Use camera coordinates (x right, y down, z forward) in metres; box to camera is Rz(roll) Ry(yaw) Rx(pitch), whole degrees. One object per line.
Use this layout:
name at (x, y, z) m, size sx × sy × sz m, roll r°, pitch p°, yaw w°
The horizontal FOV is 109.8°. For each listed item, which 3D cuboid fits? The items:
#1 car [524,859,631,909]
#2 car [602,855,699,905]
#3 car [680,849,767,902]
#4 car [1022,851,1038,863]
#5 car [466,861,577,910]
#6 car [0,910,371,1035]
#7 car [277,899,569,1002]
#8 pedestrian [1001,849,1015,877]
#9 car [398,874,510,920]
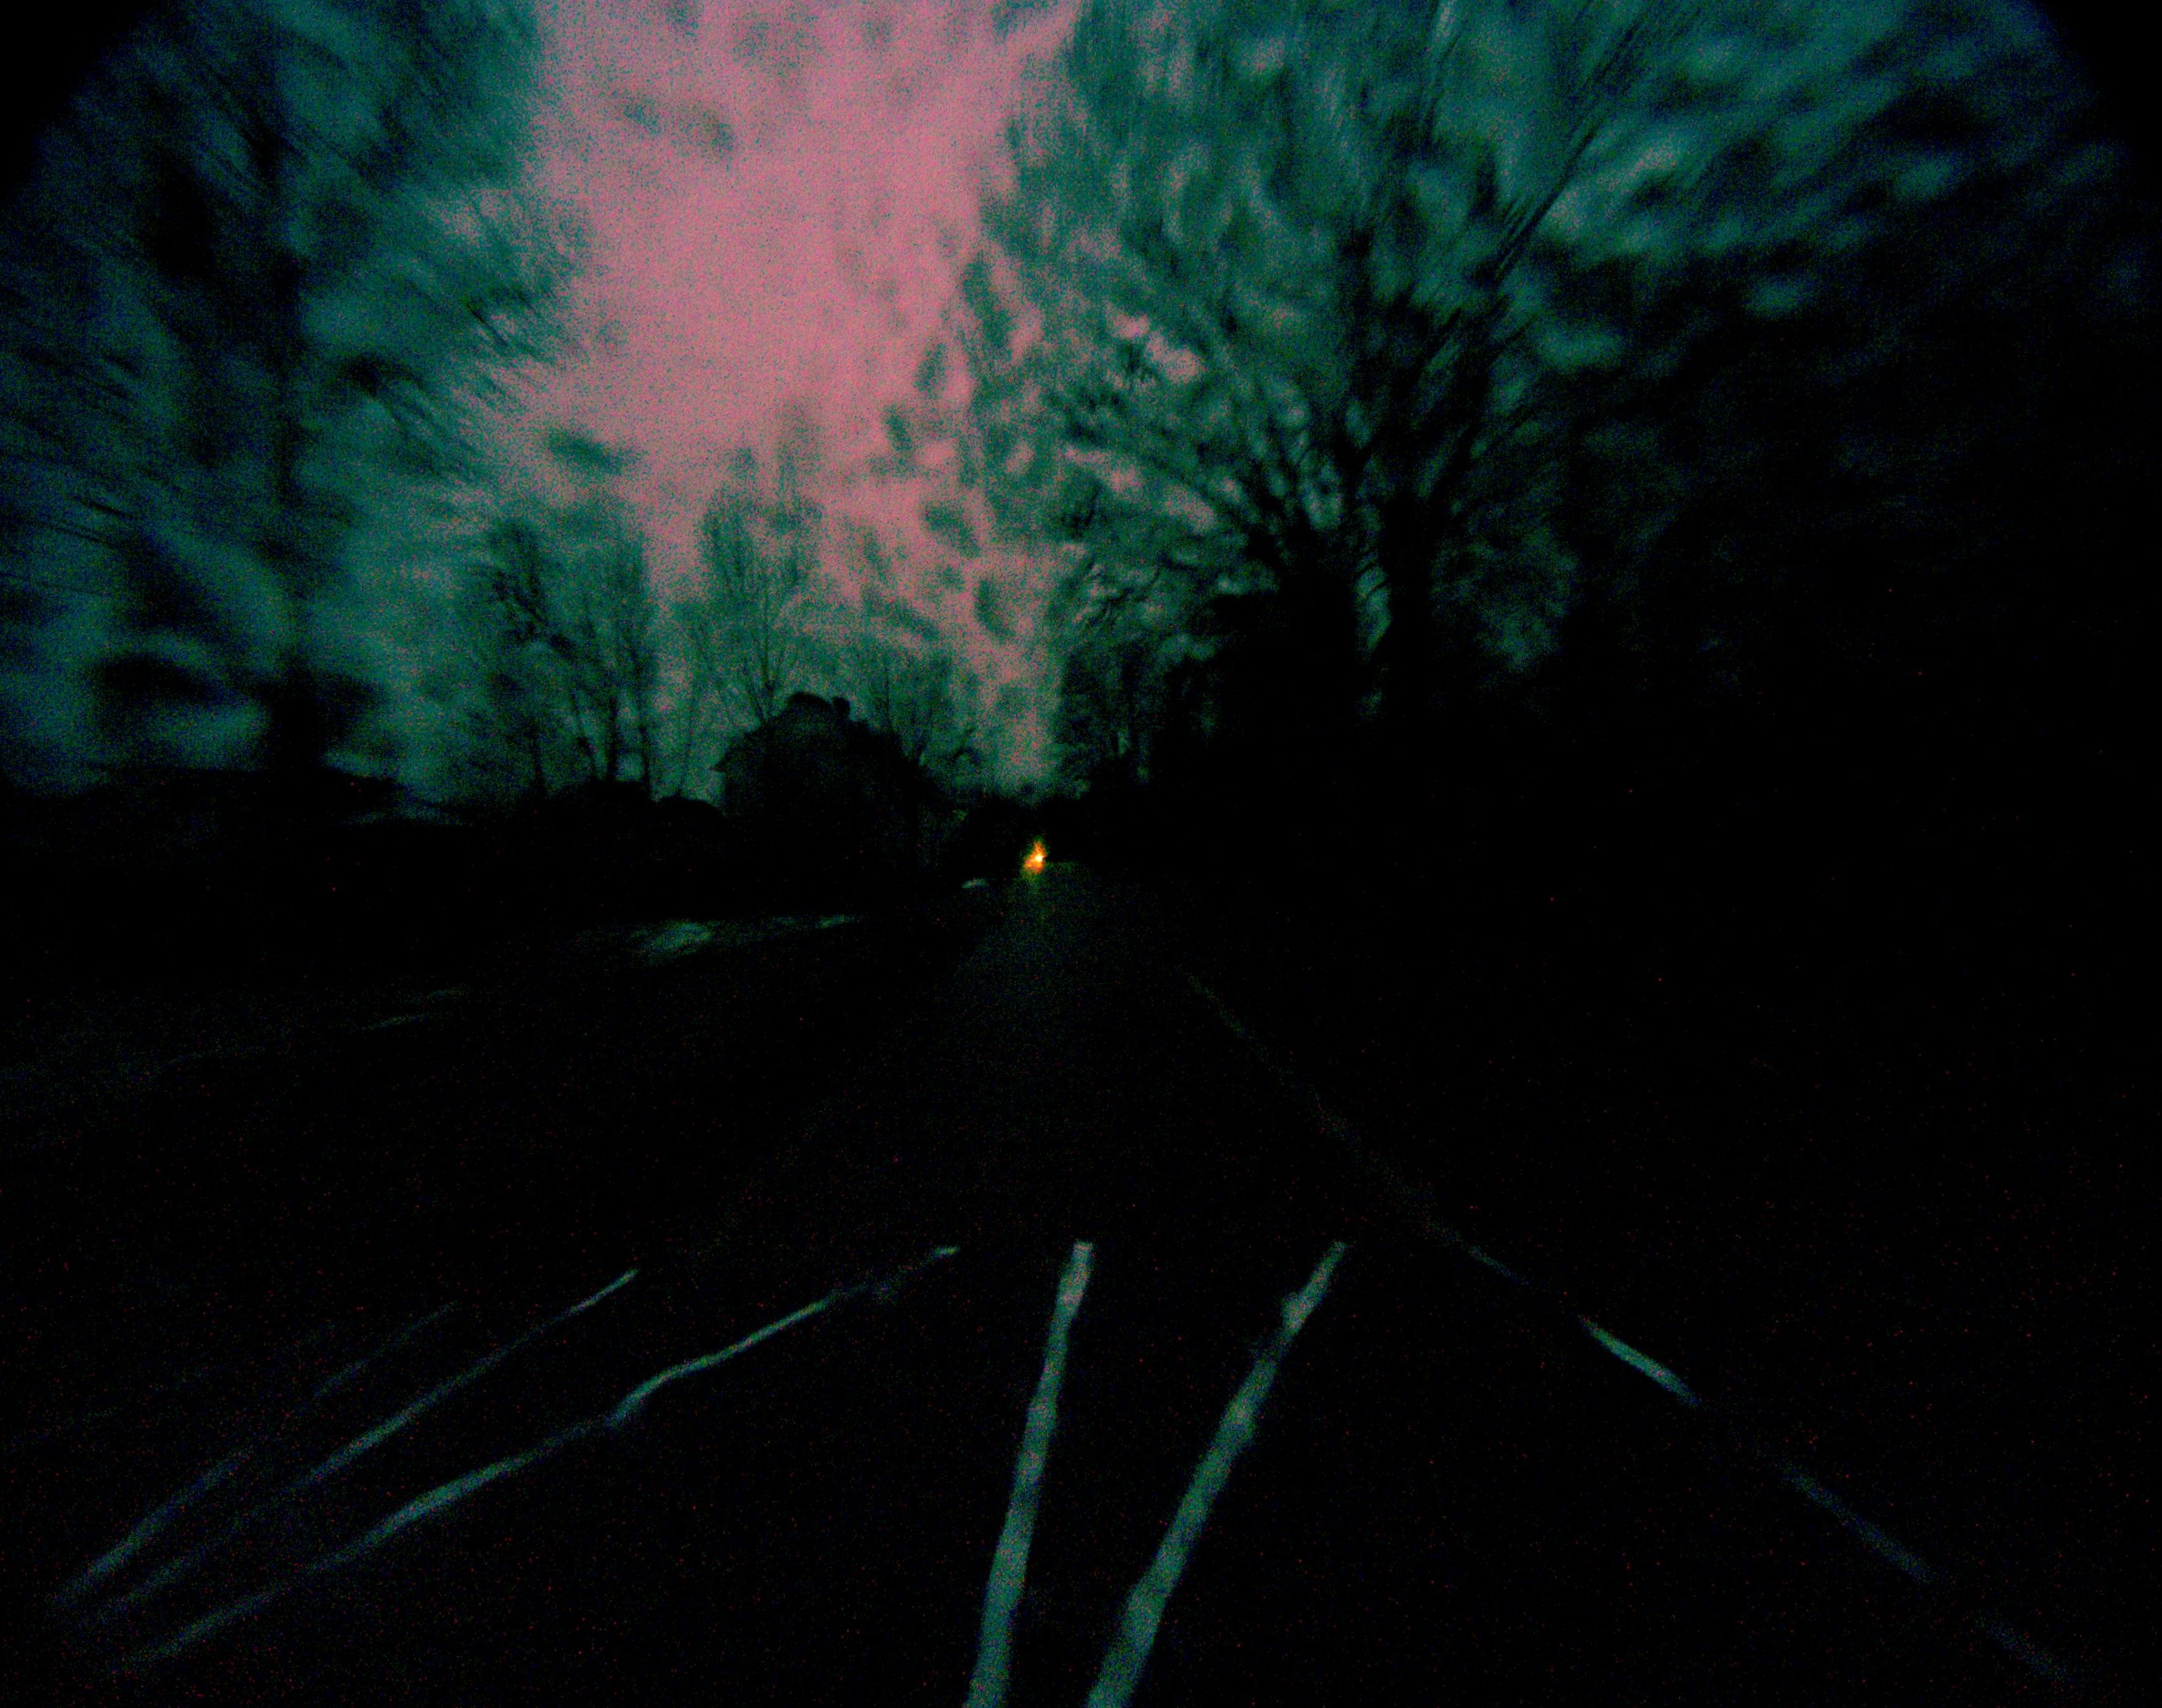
car at (-19.086, 1.084, 29.022) m, size 1.642 × 1.465 × 3.735 m, roll -1°, pitch 4°, yaw -3°
car at (-16.416, 0.929, 29.170) m, size 1.642 × 1.465 × 3.735 m, roll -1°, pitch 4°, yaw -3°
car at (-13.782, 0.771, 29.532) m, size 1.642 × 1.674 × 3.735 m, roll -1°, pitch 5°, yaw -3°
car at (-6.934, 0.451, 103.327) m, size 1.709 × 1.497 × 4.021 m, roll -3°, pitch 1°, yaw -9°
car at (-21.834, 1.174, 29.836) m, size 1.642 × 1.465 × 3.735 m, roll -1°, pitch 4°, yaw -3°
car at (-14.259, 1.822, 12.221) m, size 3.793 × 1.587 × 1.802 m, roll -1°, pitch 0°, yaw -5°
car at (-12.293, 1.766, 14.433) m, size 3.793 × 1.587 × 1.802 m, roll -1°, pitch 0°, yaw -5°
pedestrian at (-4.284, 0.522, 44.401) m, size 0.745 × 1.645 × 0.970 m, roll -1°, pitch 1°, yaw -4°
car at (-23.755, 1.583, 28.950) m, size 1.473 × 1.271 × 3.396 m, roll -1°, pitch 4°, yaw -3°
